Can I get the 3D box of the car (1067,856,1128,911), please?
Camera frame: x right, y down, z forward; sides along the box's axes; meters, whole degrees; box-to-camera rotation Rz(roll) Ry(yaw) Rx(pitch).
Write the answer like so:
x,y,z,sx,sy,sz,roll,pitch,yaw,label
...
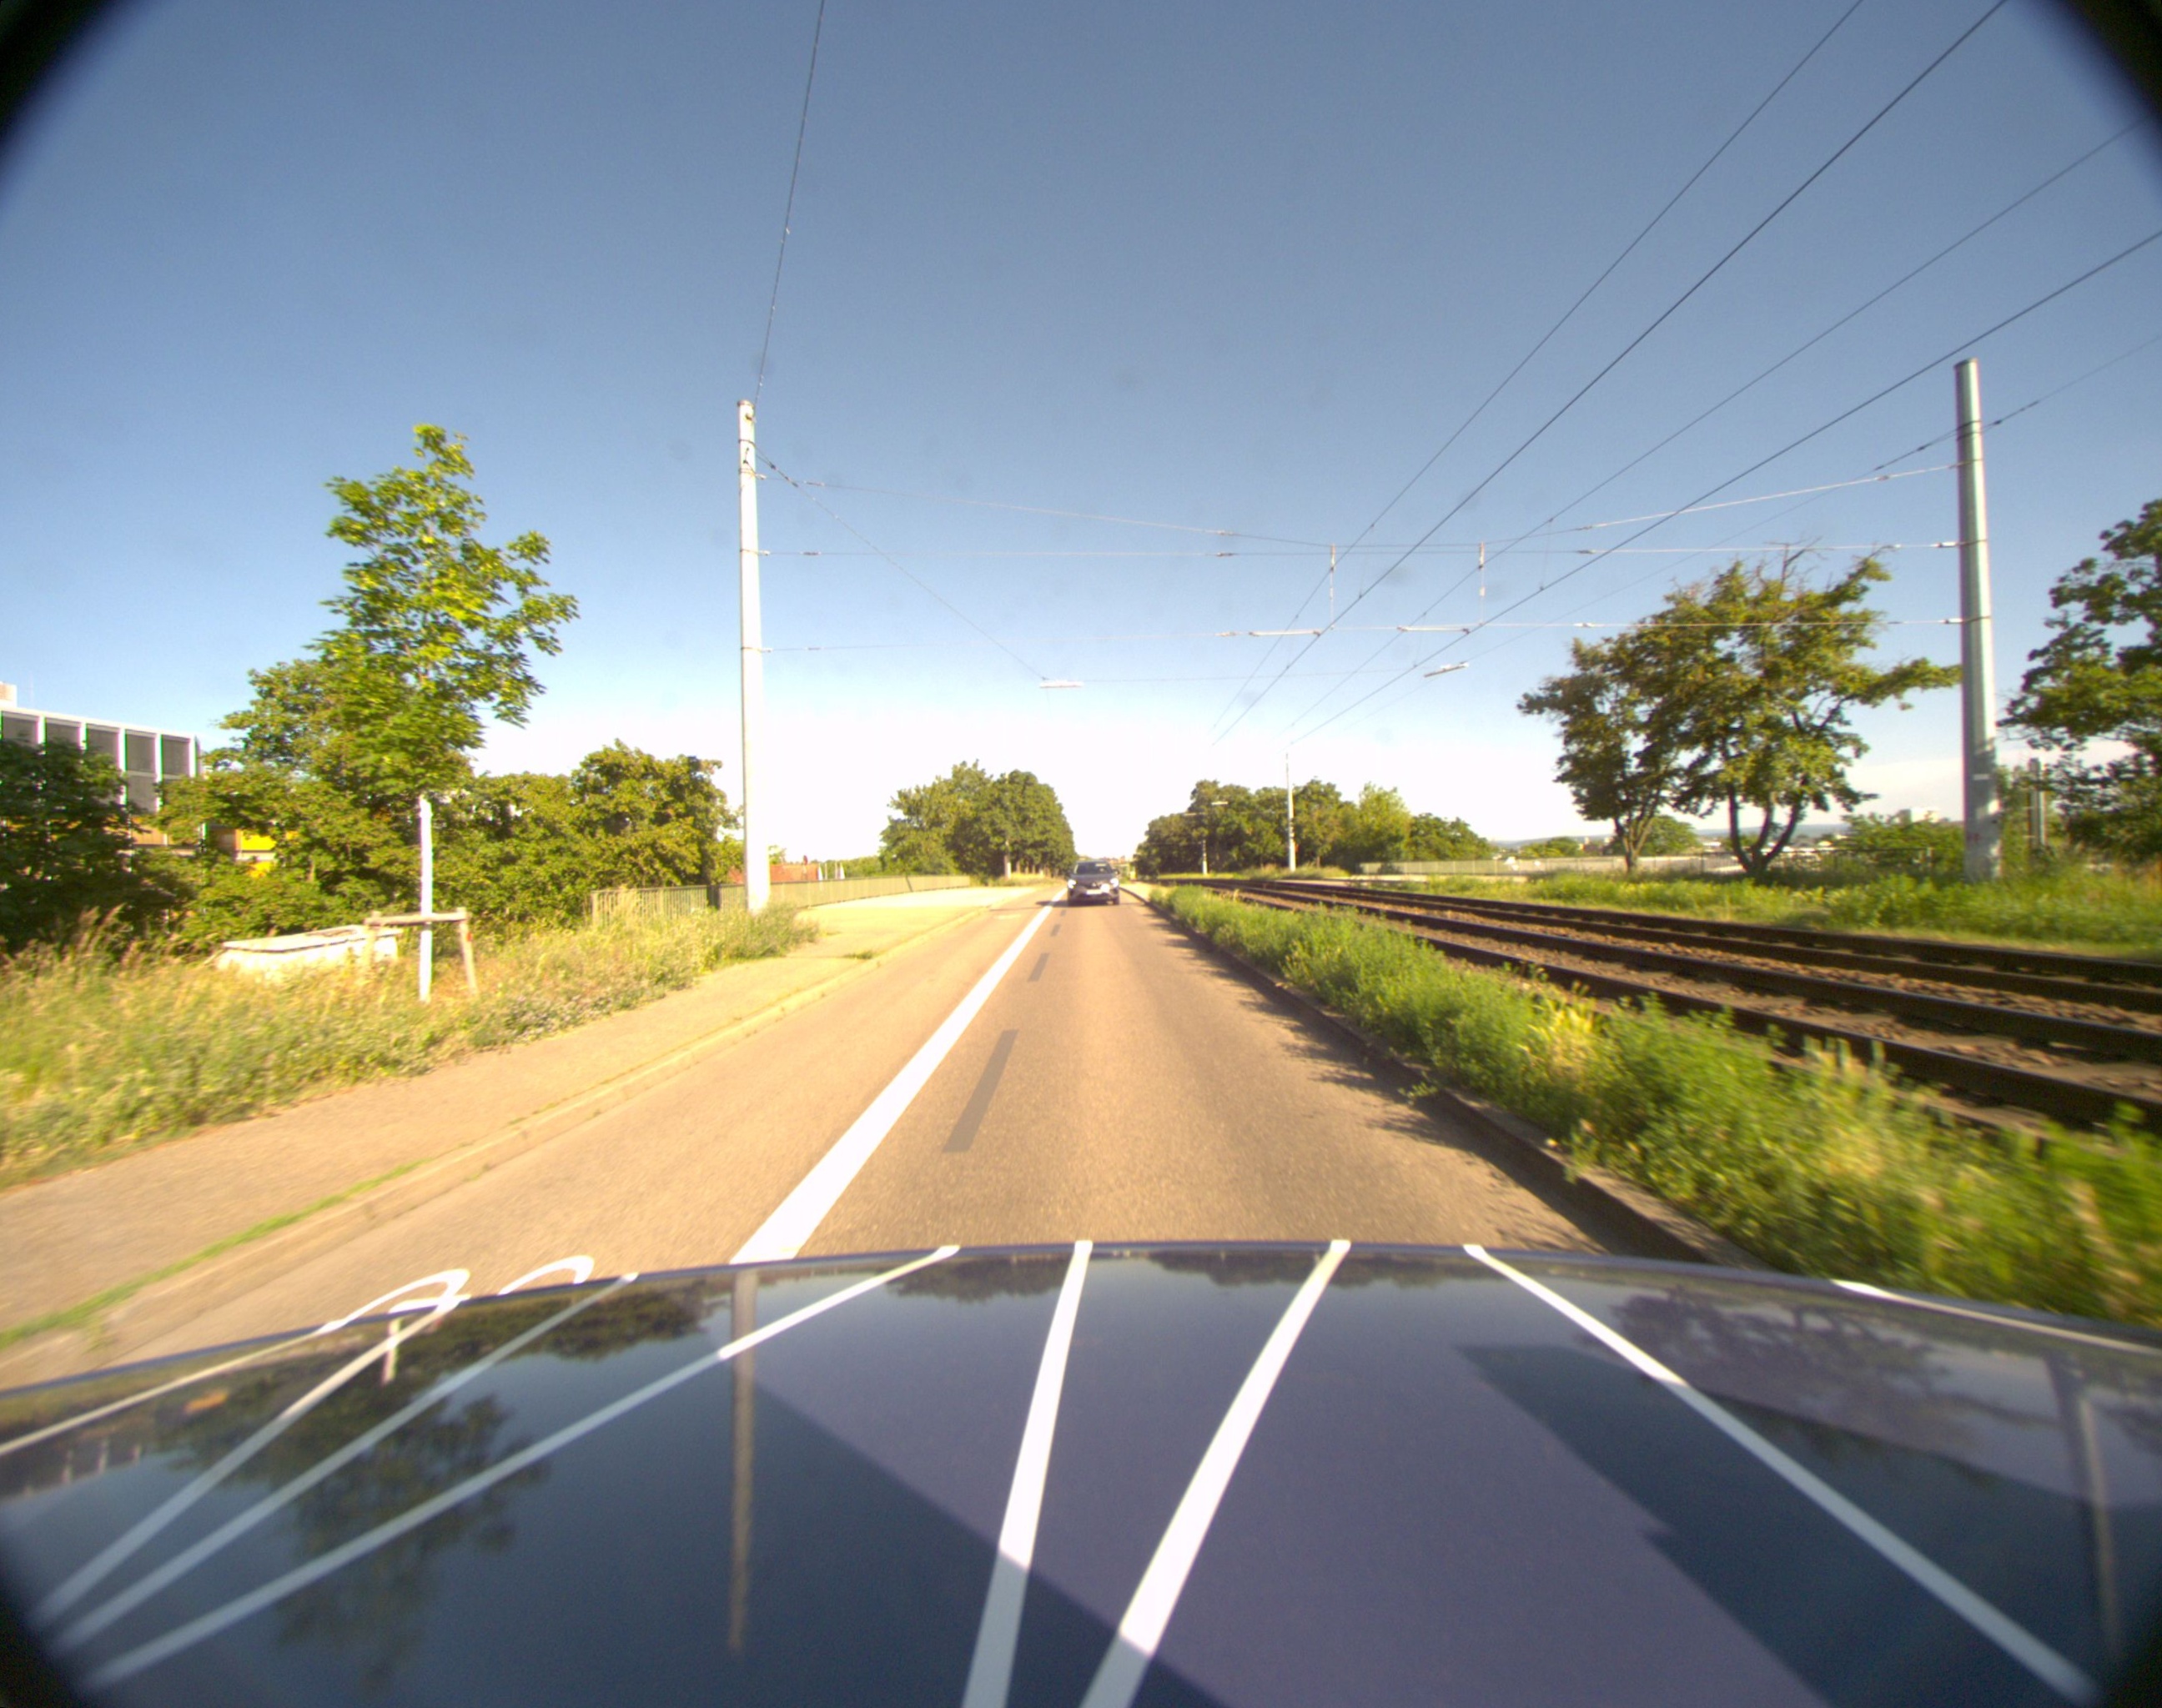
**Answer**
x,y,z,sx,sy,sz,roll,pitch,yaw,label
0.563,1.005,26.309,1.814,1.625,4.711,-3,-2,1,car
